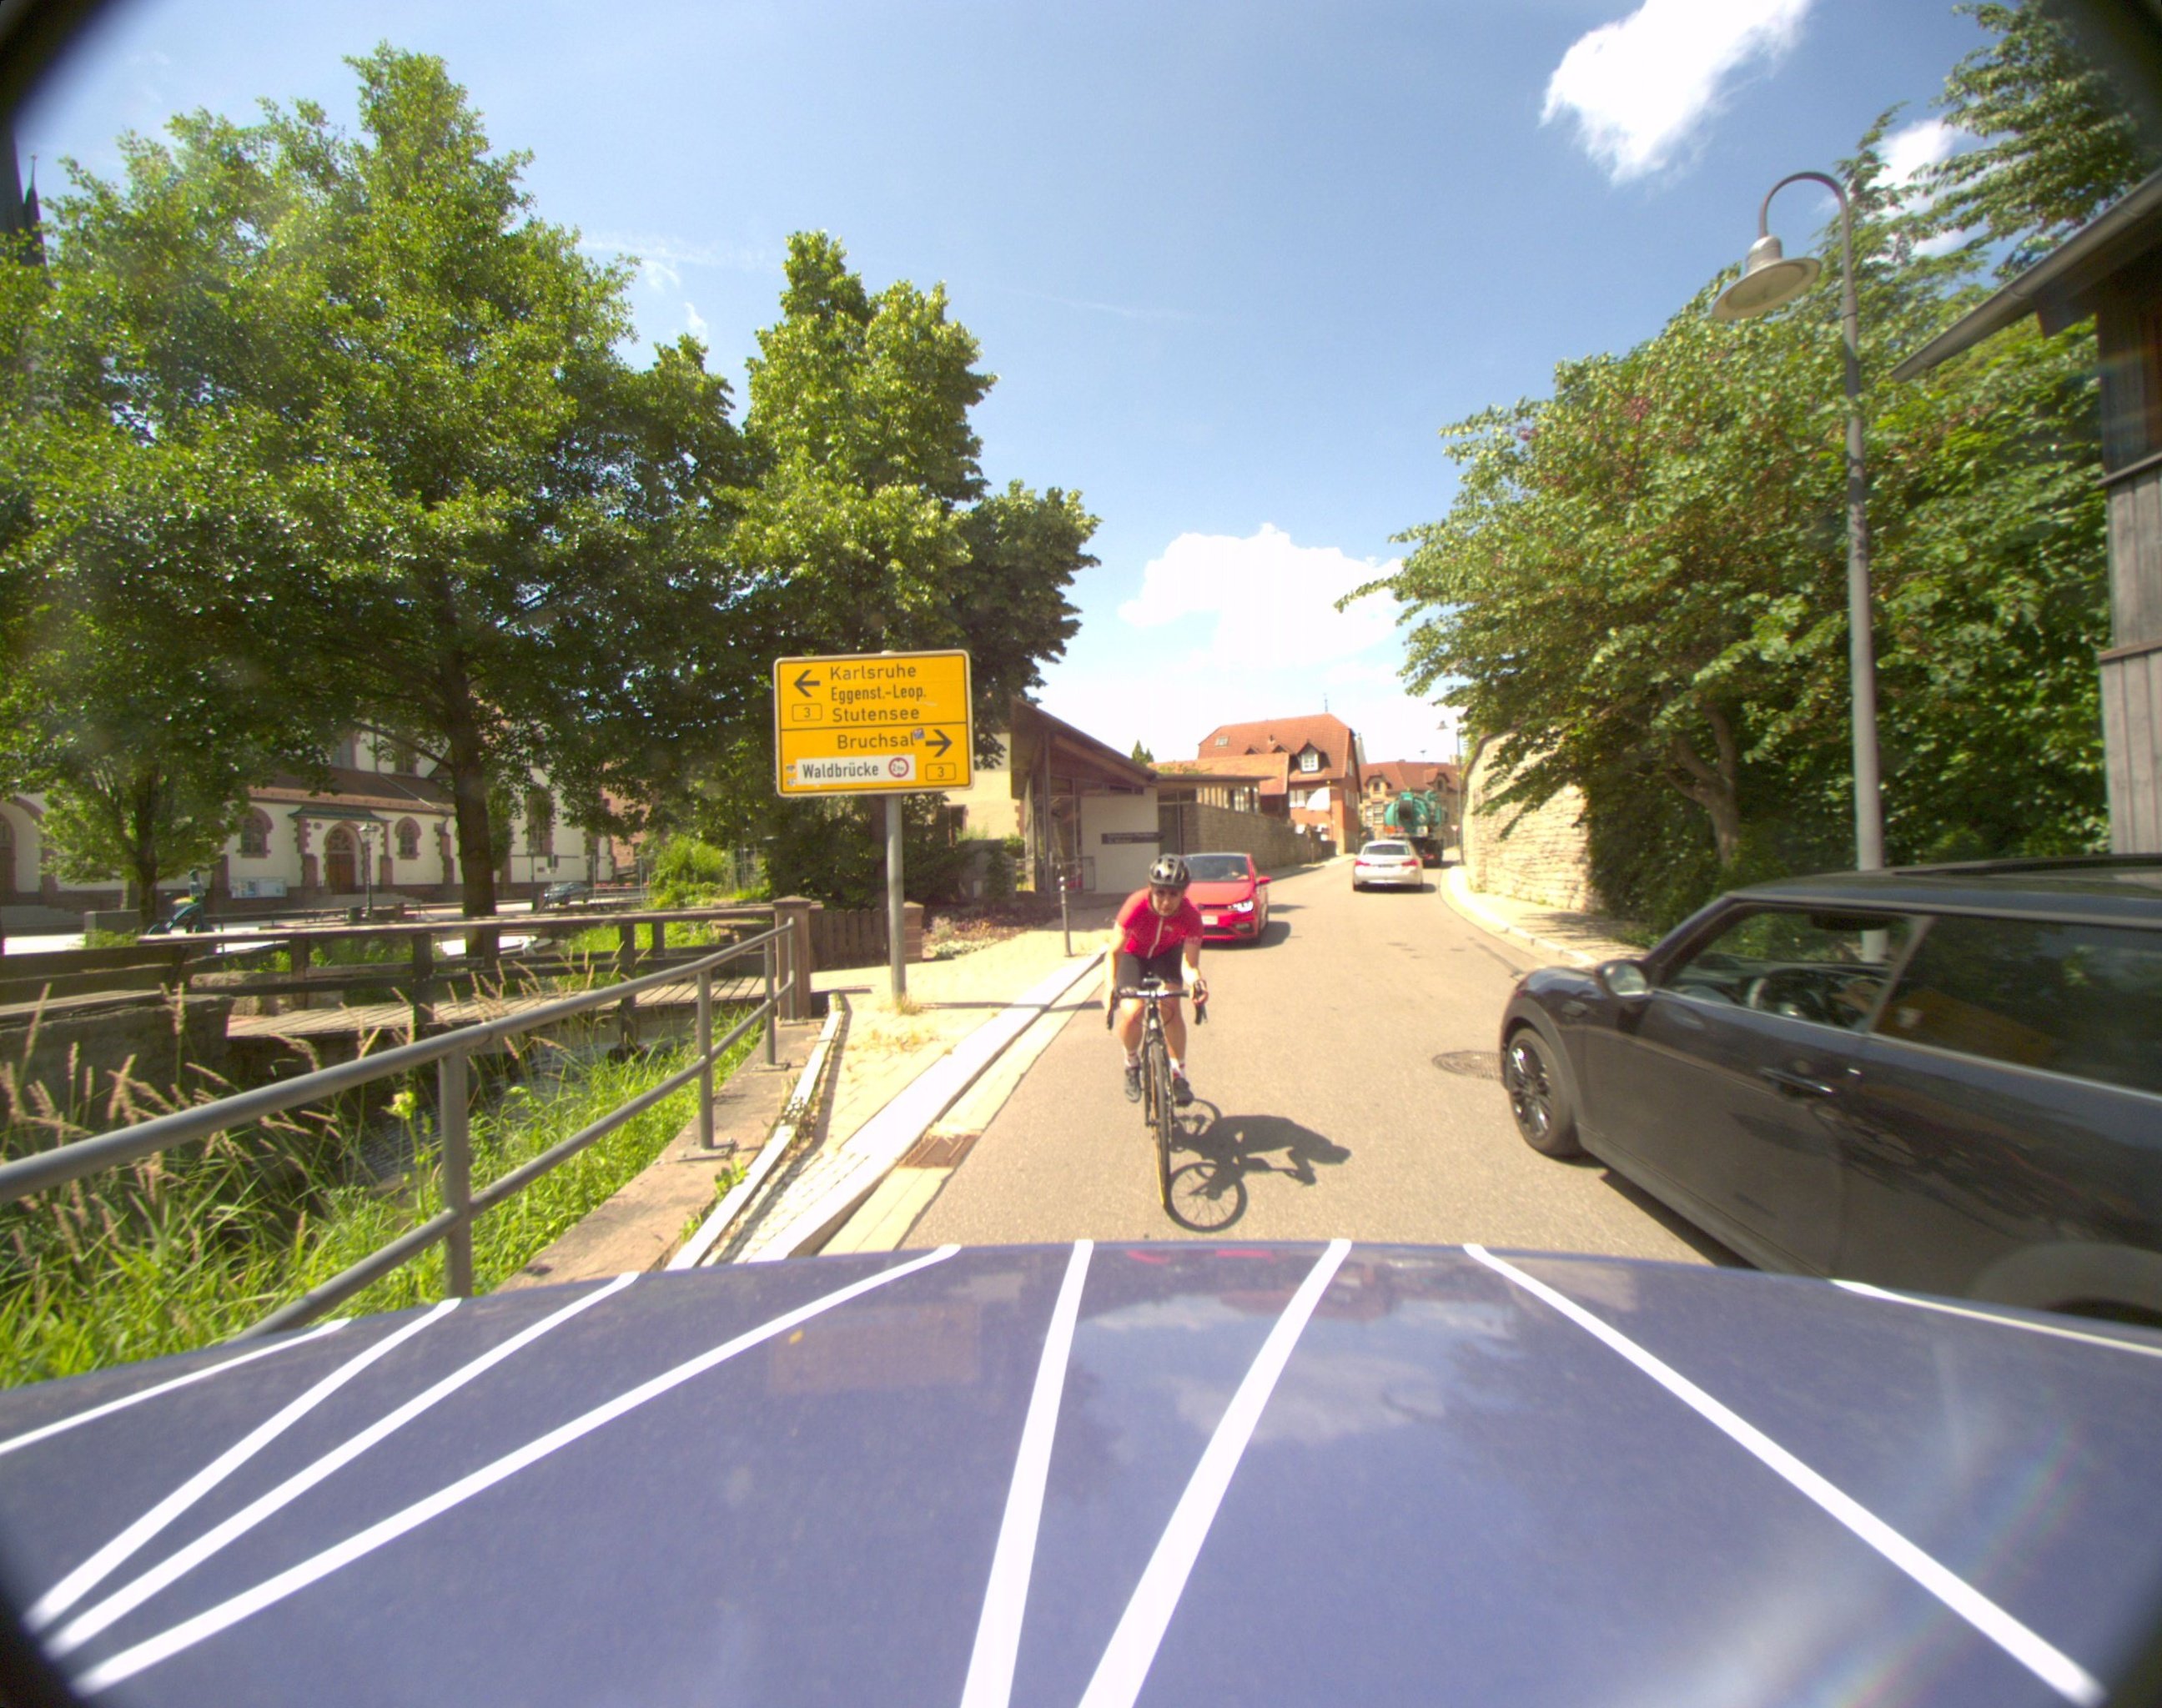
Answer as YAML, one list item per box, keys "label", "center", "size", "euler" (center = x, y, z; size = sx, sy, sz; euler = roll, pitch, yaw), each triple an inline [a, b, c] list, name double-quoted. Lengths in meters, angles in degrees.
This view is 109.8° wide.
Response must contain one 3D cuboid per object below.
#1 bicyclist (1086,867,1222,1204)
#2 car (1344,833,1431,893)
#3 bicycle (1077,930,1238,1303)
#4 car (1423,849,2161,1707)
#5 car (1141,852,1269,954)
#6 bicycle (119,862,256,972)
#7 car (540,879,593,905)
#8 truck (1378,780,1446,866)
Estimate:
- label: "bicyclist"
  center: [0.332, 0.778, 3.579]
  size: [0.532, 1.396, 0.755]
  euler: [-2, 1, 4]
- label: "car"
  center: [9.249, 0.202, 22.692]
  size: [1.896, 1.492, 4.620]
  euler: [-1, 2, 28]
- label: "bicycle"
  center: [0.330, 1.020, 3.669]
  size: [0.531, 1.070, 2.054]
  euler: [-2, 1, 4]
- label: "car"
  center: [2.893, 0.783, 2.703]
  size: [1.702, 1.457, 4.436]
  euler: [-2, 1, 6]
- label: "car"
  center: [2.185, 0.707, 12.648]
  size: [1.667, 1.344, 3.497]
  euler: [-1, 2, 16]
- label: "bicycle"
  center: [-18.089, 1.211, 15.491]
  size: [0.784, 2.002, 2.661]
  euler: [-6, 2, -29]
- label: "car"
  center: [-34.545, 2.536, 51.124]
  size: [1.671, 1.496, 3.806]
  euler: [-3, 0, -14]
- label: "truck"
  center: [16.278, -1.538, 36.962]
  size: [2.413, 3.638, 9.581]
  euler: [1, 3, 27]
